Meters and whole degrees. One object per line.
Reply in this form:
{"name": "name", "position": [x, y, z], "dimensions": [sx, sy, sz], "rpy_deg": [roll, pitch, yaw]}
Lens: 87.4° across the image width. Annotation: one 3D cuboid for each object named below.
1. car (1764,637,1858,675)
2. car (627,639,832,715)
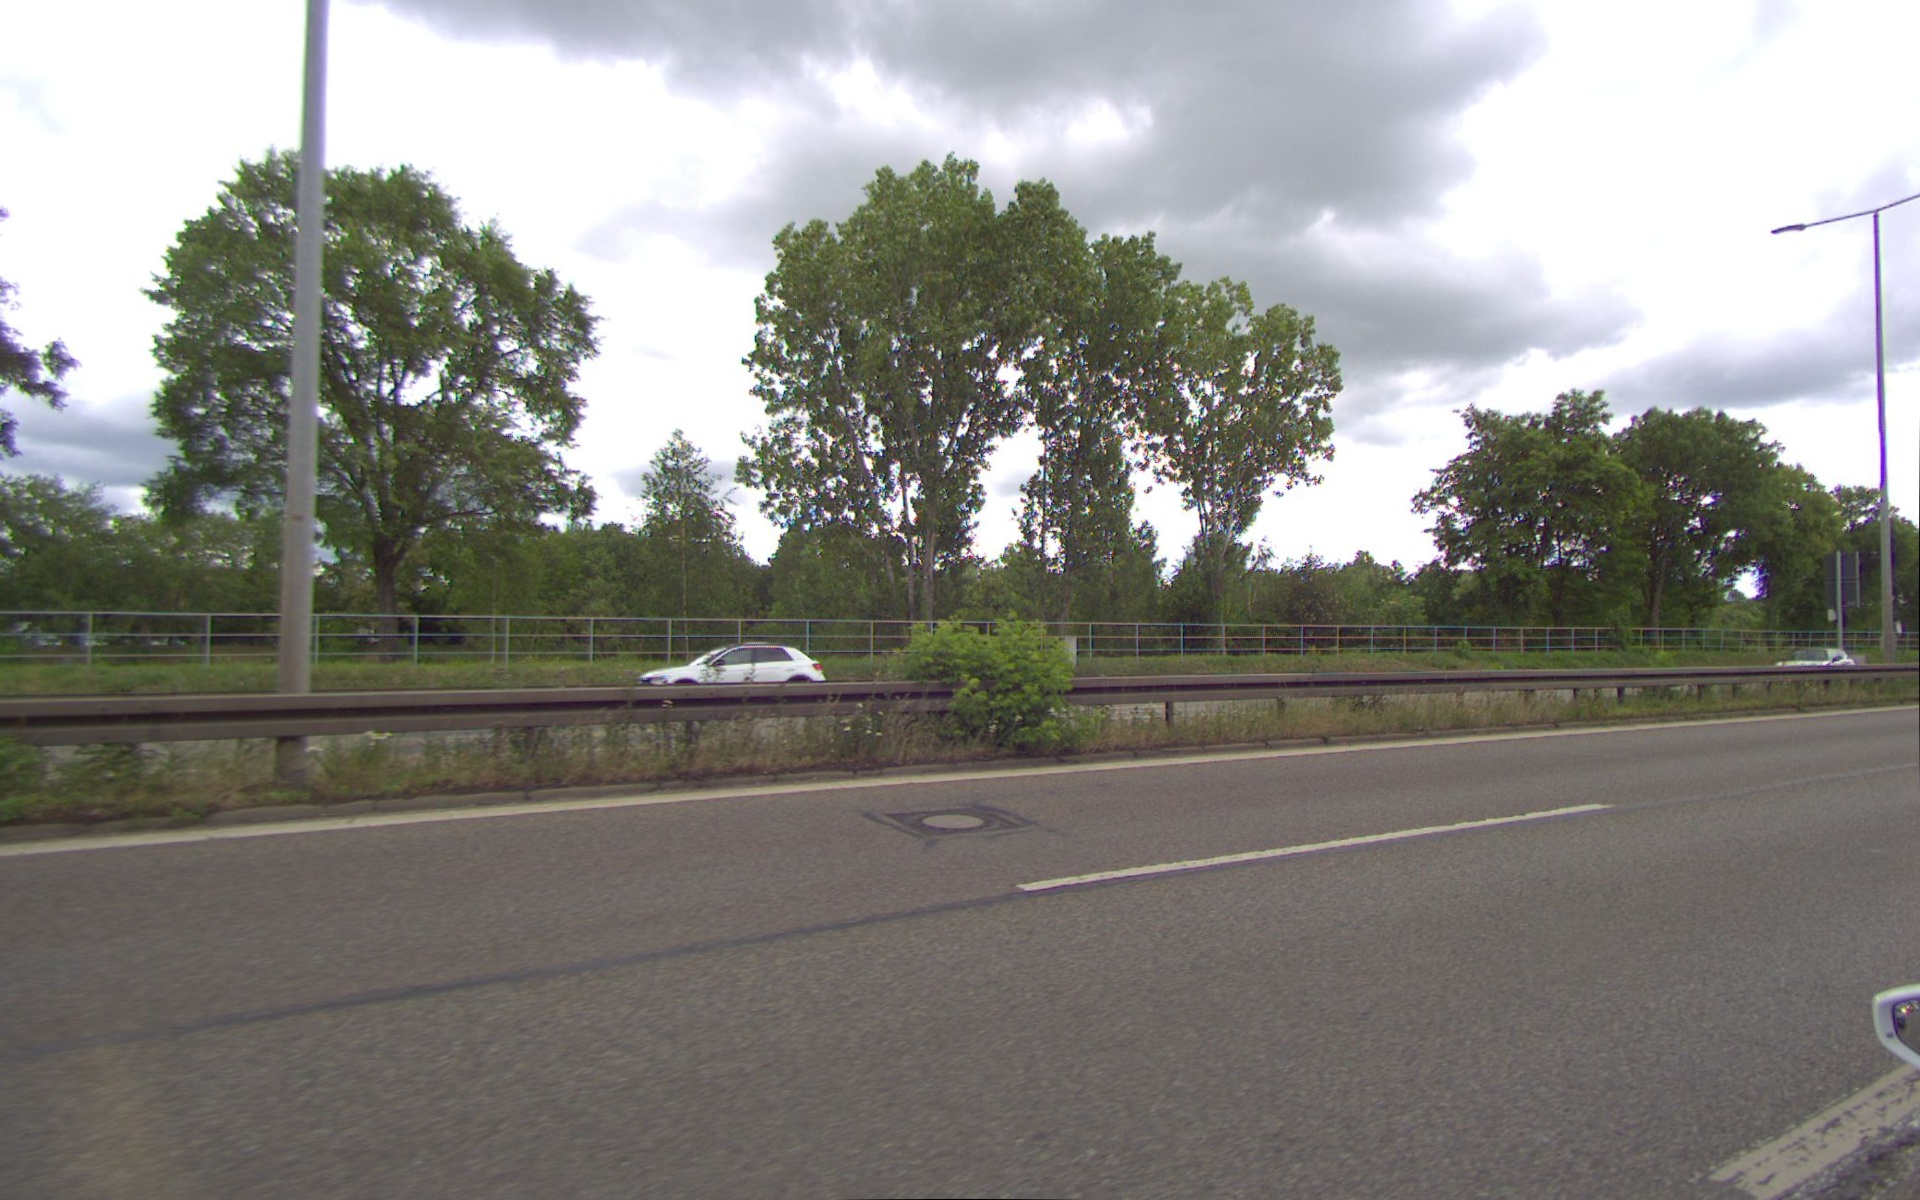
{"name": "car", "position": [33.666, 2.181, 39.722], "dimensions": [3.942, 1.417, 1.651], "rpy_deg": [1, -1, -30]}
{"name": "car", "position": [-5.140, 1.656, 22.524], "dimensions": [4.153, 1.509, 1.870], "rpy_deg": [1, -1, -30]}
